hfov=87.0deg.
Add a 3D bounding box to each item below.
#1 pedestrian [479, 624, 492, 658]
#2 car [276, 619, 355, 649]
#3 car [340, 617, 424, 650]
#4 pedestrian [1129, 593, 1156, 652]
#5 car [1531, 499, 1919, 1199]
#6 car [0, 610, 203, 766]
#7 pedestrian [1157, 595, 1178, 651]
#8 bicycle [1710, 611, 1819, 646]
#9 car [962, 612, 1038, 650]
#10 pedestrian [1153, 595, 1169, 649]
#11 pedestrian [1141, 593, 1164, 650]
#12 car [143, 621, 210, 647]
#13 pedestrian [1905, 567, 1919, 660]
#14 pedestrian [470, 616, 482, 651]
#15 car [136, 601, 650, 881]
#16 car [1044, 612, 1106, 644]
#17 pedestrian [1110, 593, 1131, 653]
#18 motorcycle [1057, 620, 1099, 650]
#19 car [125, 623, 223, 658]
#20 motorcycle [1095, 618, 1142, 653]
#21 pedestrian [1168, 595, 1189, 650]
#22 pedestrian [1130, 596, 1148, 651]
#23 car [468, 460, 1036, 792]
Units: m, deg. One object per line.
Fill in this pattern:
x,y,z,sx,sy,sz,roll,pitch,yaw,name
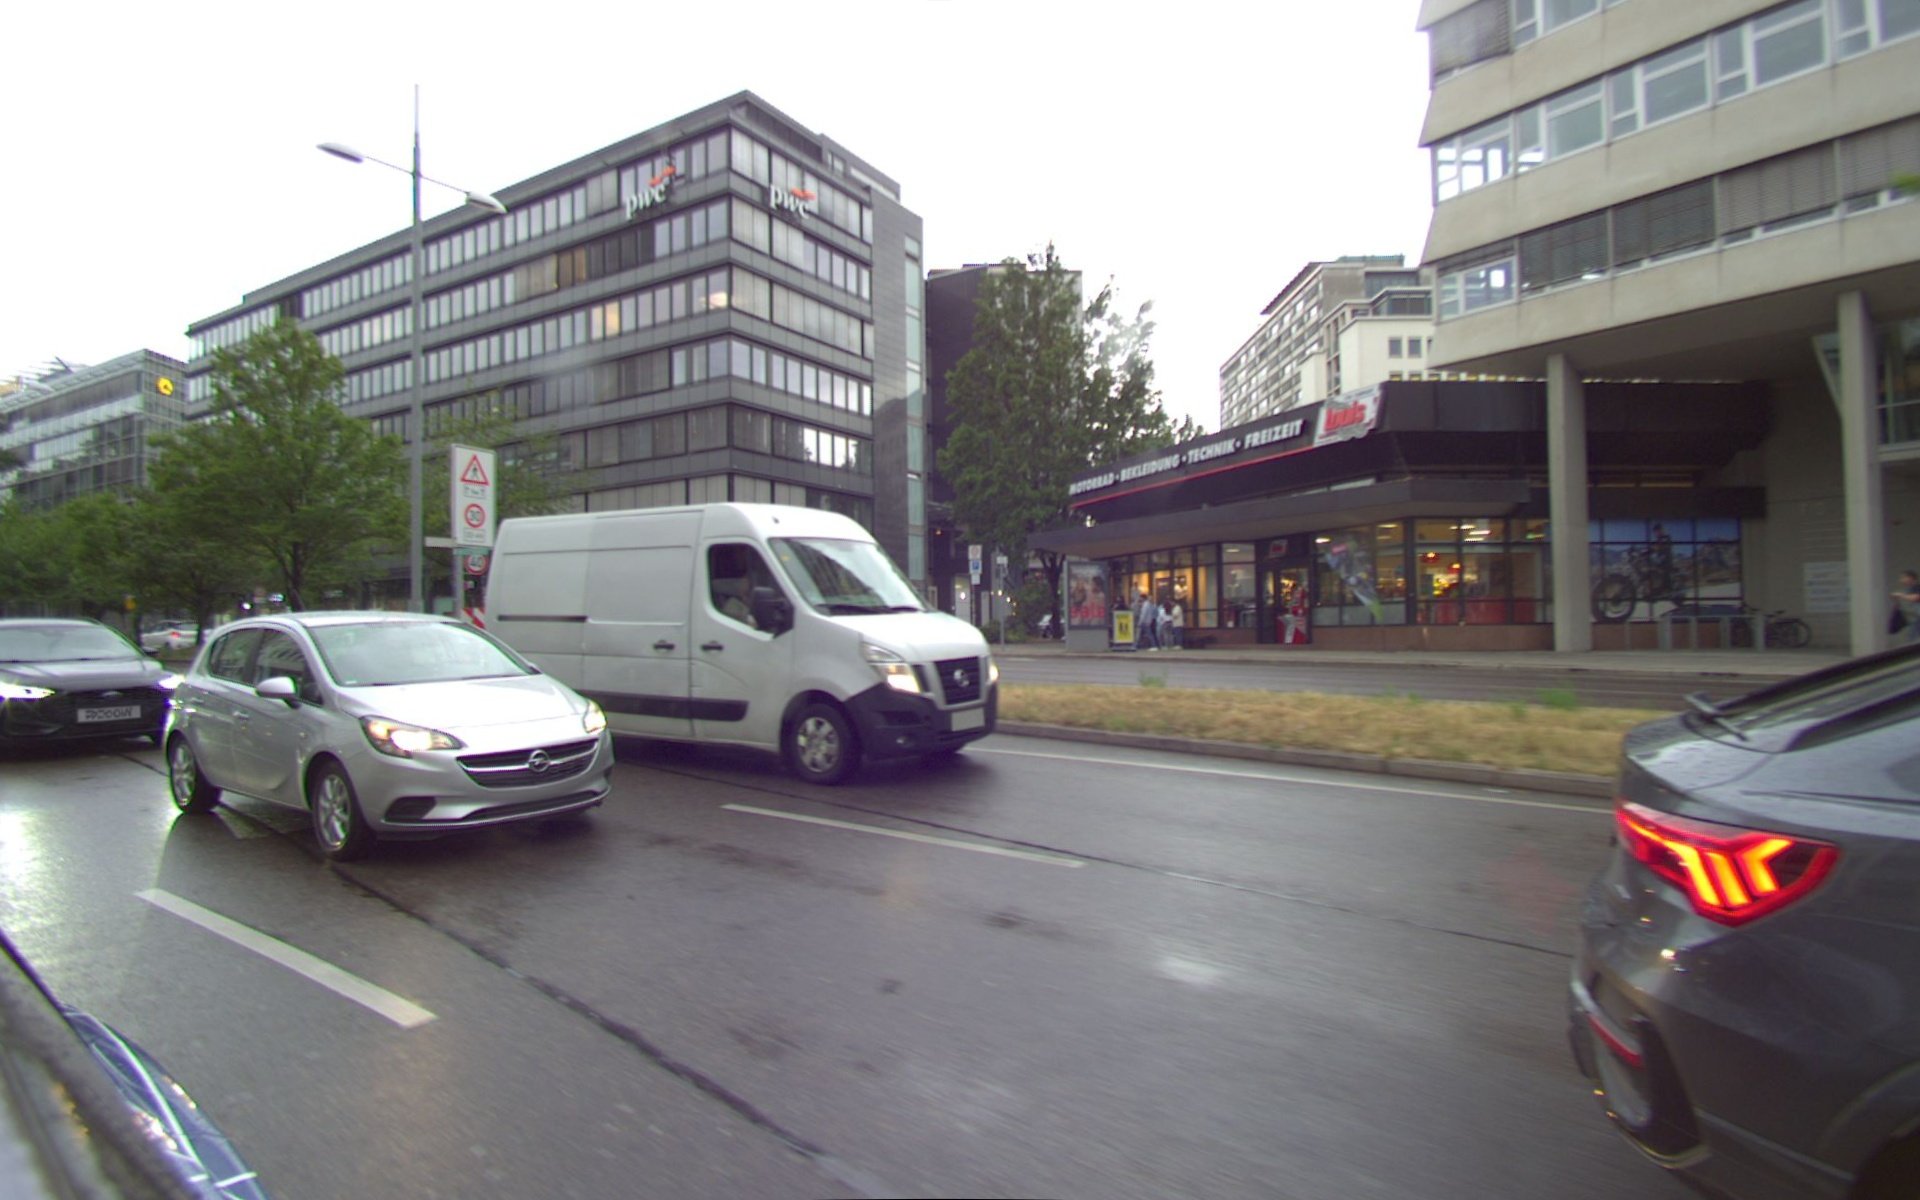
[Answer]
-28.409,2.468,60.578,0.460,2.029,0.569,-1,-1,31,pedestrian
-34.088,1.805,53.514,4.093,1.518,1.979,-1,-1,32,car
-28.613,1.643,50.100,3.986,1.518,1.979,-1,-1,32,car
5.568,0.681,30.884,0.528,1.784,0.551,-1,-1,-35,pedestrian
3.165,0.578,1.021,4.268,1.533,1.631,-1,0,40,car
-10.425,0.881,11.357,4.081,1.446,1.758,-1,0,32,car
6.724,0.737,32.728,0.421,1.784,0.471,-1,-1,-35,pedestrian
20.681,0.715,26.075,2.187,0.866,0.454,0,0,37,bicycle
1.859,1.393,45.994,1.844,1.596,3.722,-1,-1,33,car
6.764,0.737,34.075,0.323,1.784,0.359,-1,-1,-35,pedestrian
6.105,0.666,32.066,0.547,1.784,0.405,-1,-1,-35,pedestrian
-48.163,2.077,62.200,3.986,1.518,1.979,-1,-1,32,car
17.881,0.243,18.555,0.763,1.696,0.670,-2,-1,42,pedestrian
-28.046,1.933,58.616,0.296,2.029,0.535,-1,-1,31,pedestrian
-4.083,0.774,7.081,3.866,1.446,1.634,-1,0,35,car
6.137,1.475,53.786,1.844,1.596,3.722,-1,-1,33,car
4.871,0.691,30.720,0.356,1.784,0.463,-1,-1,-35,pedestrian
4.658,1.377,39.838,1.599,1.153,0.361,-1,-1,-12,motorcycle
-32.693,1.674,42.071,3.980,1.383,1.735,-1,0,28,car
5.768,1.281,36.863,1.644,1.242,0.360,-1,-1,-3,motorcycle
7.170,0.736,33.181,0.421,1.784,0.471,-1,-1,-35,pedestrian
5.859,0.755,33.196,0.323,1.784,0.438,-1,-1,-36,pedestrian
-2.160,0.240,9.746,5.459,2.459,1.932,-1,0,31,car
